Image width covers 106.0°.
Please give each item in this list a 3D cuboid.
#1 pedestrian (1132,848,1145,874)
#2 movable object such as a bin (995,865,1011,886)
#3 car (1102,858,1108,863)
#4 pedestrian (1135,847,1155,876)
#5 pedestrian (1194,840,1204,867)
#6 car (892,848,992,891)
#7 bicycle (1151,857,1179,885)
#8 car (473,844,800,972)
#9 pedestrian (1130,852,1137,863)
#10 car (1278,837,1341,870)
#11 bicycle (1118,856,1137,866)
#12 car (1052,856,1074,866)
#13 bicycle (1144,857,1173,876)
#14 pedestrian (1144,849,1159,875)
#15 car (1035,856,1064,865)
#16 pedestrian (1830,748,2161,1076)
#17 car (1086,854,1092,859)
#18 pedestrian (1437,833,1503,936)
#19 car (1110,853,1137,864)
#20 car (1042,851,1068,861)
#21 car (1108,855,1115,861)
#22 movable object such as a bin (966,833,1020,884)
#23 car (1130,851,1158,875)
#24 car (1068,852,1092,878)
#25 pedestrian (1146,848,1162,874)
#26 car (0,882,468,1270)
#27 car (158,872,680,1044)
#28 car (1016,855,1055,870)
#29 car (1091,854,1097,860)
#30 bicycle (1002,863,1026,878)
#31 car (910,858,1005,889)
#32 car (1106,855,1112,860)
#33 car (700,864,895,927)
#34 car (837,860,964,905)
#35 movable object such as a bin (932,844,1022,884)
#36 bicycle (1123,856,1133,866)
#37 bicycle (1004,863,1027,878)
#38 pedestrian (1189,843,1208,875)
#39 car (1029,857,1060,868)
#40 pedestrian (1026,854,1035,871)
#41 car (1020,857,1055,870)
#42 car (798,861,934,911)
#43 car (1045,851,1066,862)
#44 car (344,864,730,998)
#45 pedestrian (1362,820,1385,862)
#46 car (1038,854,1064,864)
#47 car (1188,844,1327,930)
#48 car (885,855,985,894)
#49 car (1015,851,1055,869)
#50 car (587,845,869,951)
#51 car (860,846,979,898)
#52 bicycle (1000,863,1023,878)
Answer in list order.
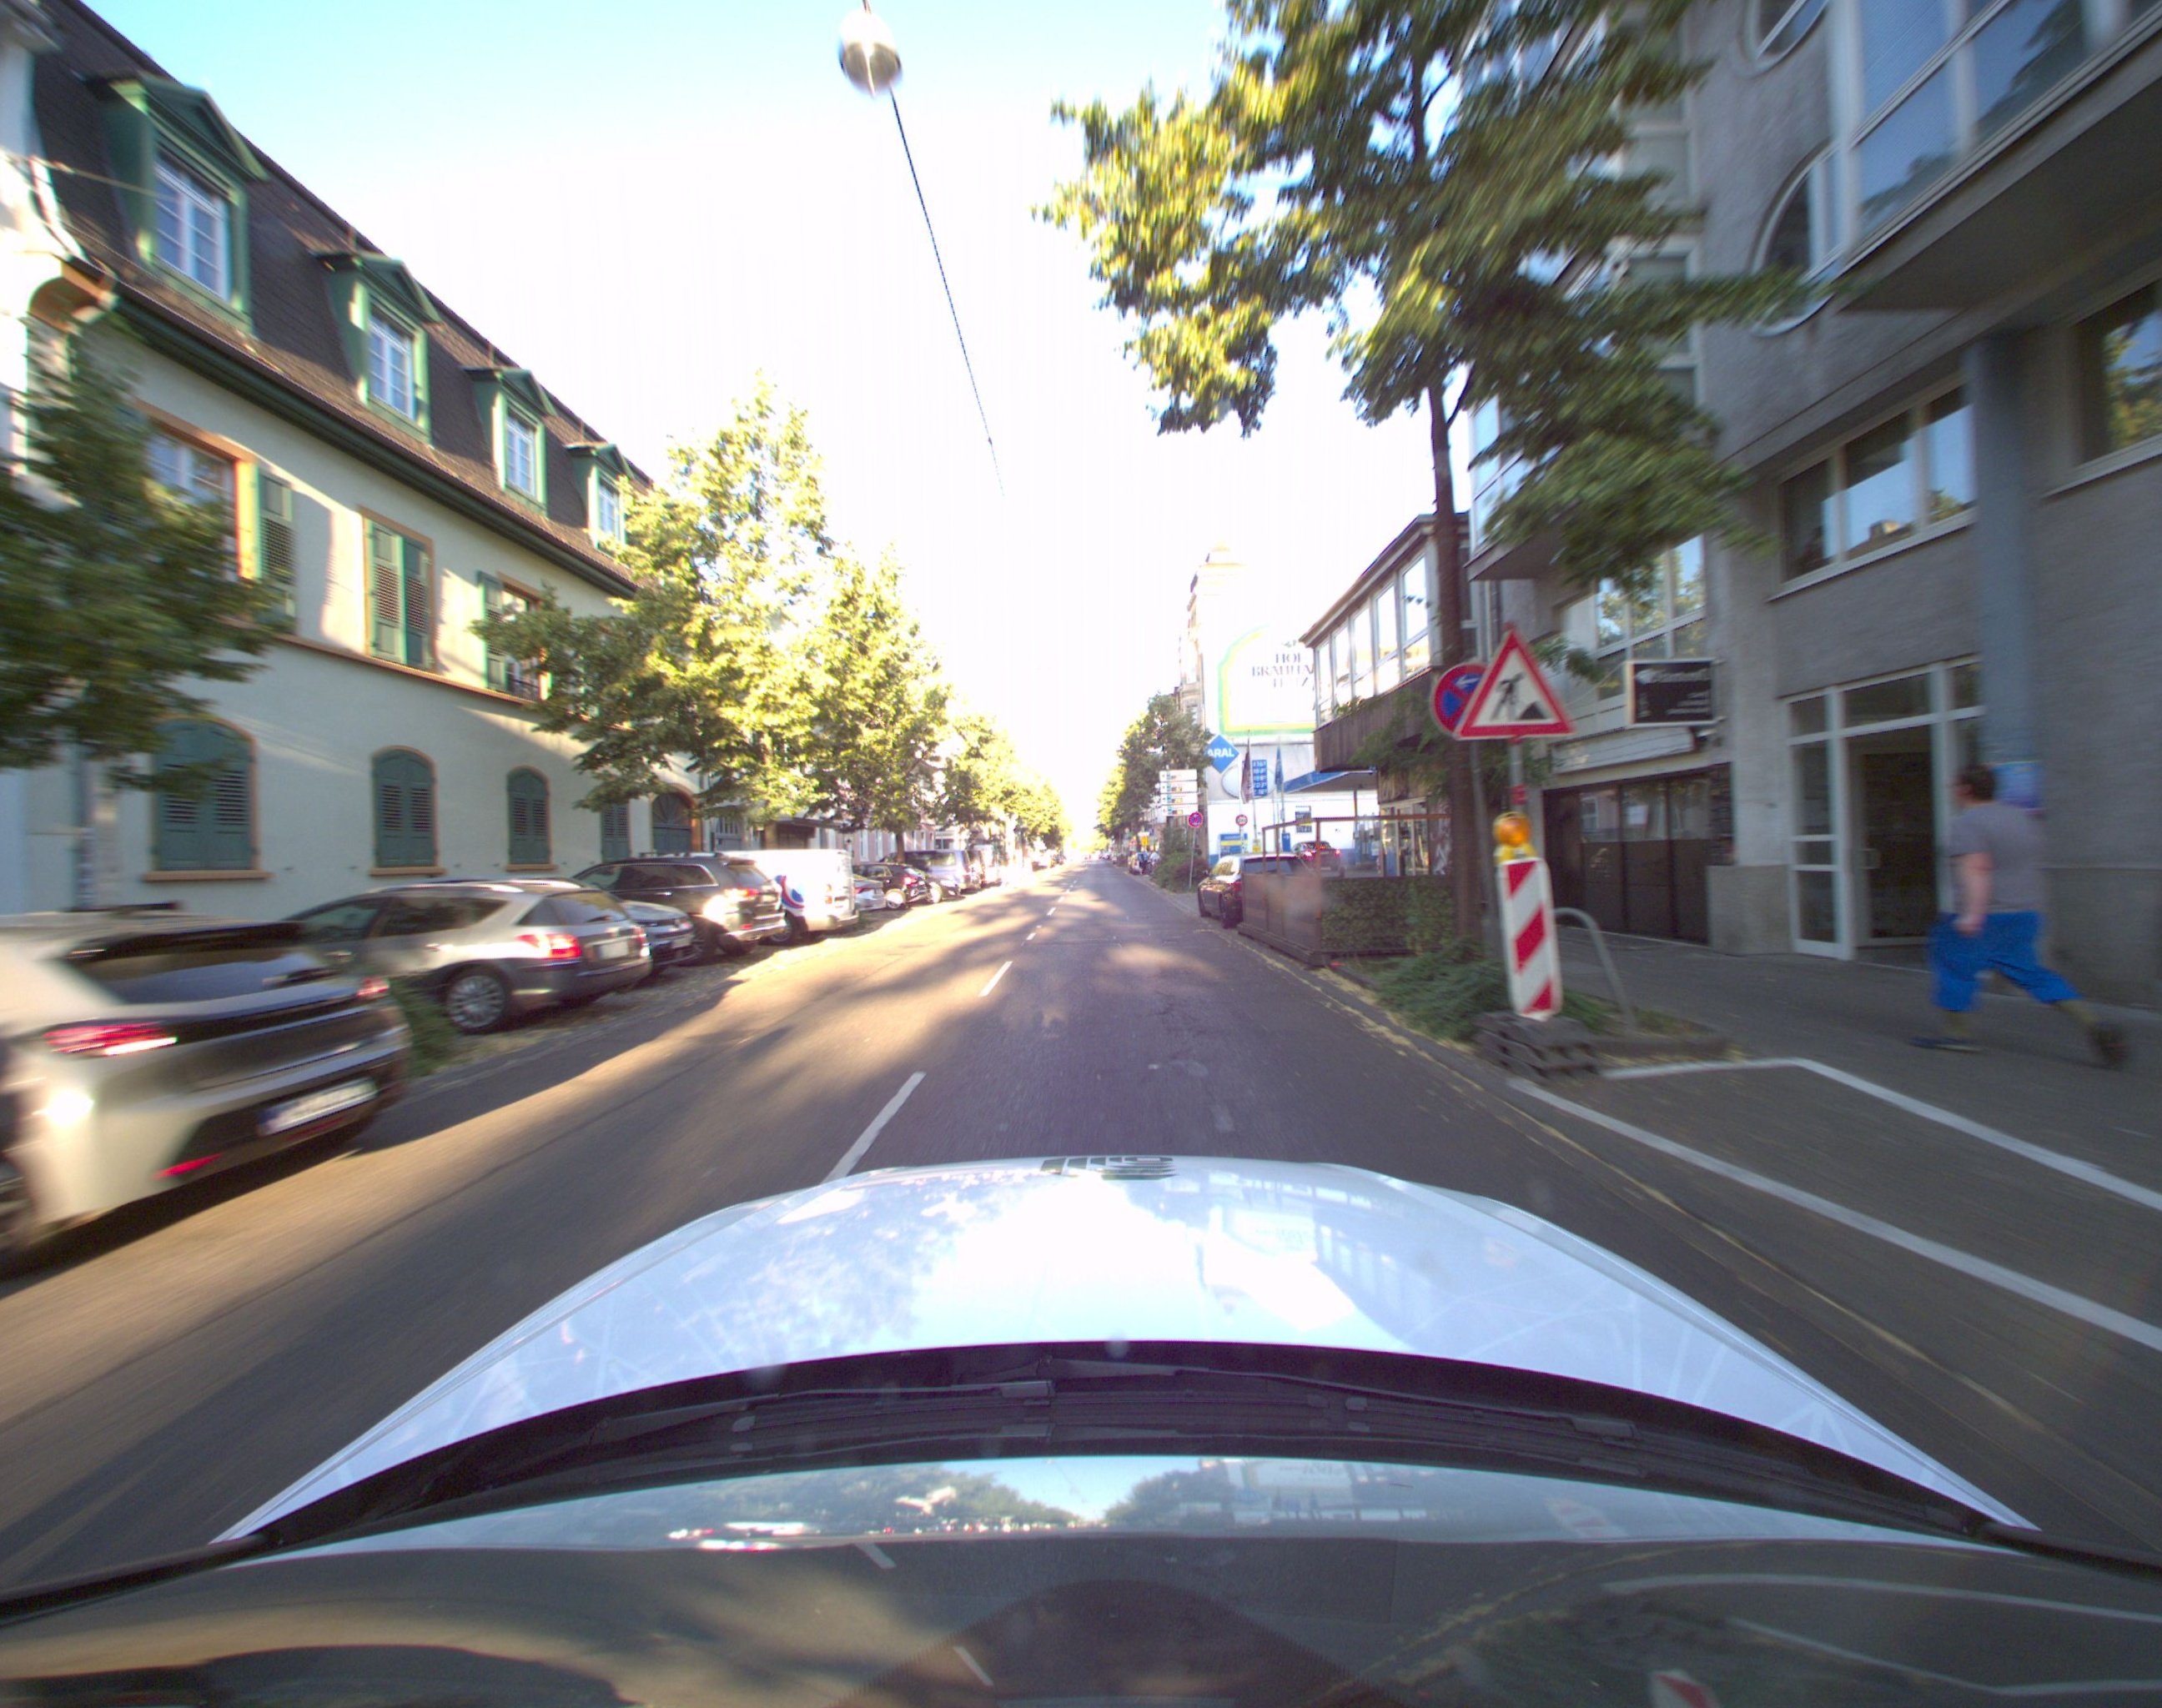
[{"bbox_3d":[3.967,0.460,55.970,0.677,1.754,0.822,-2,-1,-10],"label":"pedestrian"},{"bbox_3d":[-4.260,1.167,44.558,0.687,1.105,0.883,-3,0,3],"label":"movable object such as a bin"},{"bbox_3d":[6.924,1.902,236.412,1.507,1.298,3.305,-1,-1,2],"label":"car"},{"bbox_3d":[4.171,0.479,53.129,1.013,1.825,0.778,-4,0,-9],"label":"pedestrian"},{"bbox_3d":[8.250,-0.043,56.911,0.461,1.875,0.499,-2,0,-14],"label":"pedestrian"},{"bbox_3d":[-6.659,0.720,39.373,4.471,1.976,1.964,-1,0,-2],"label":"car"},{"bbox_3d":[3.878,0.779,37.519,0.478,1.143,1.691,-5,0,31],"label":"bicycle"},{"bbox_3d":[-7.316,0.854,13.750,4.412,1.870,1.894,-2,0,1],"label":"car"},{"bbox_3d":[6.319,0.416,98.549,0.724,1.378,0.781,-2,0,1],"label":"pedestrian"},{"bbox_3d":[11.015,0.031,39.619,1.728,1.431,4.909,-3,-1,1],"label":"car"},{"bbox_3d":[5.168,0.773,90.736,1.935,1.074,0.710,-2,0,32],"label":"bicycle"},{"bbox_3d":[-3.852,1.544,172.701,4.426,1.959,1.919,-1,-1,1],"label":"car"},{"bbox_3d":[5.037,0.786,53.051,0.856,1.098,1.939,-4,0,40],"label":"bicycle"},{"bbox_3d":[4.842,0.568,56.186,0.678,1.706,0.821,-4,0,-14],"label":"pedestrian"},{"bbox_3d":[-4.960,1.030,127.874,4.426,1.448,1.919,-1,-1,1],"label":"car"},{"bbox_3d":[5.590,0.322,5.064,0.854,1.794,0.996,-3,0,-3],"label":"pedestrian"},{"bbox_3d":[2.366,0.767,244.858,1.746,1.540,3.305,-2,-1,2],"label":"car"},{"bbox_3d":[6.062,0.459,12.722,0.608,1.525,0.773,-3,0,1],"label":"pedestrian"},{"bbox_3d":[6.077,0.629,115.448,1.654,1.588,3.846,-1,0,44],"label":"car"},{"bbox_3d":[-4.650,0.398,145.258,4.426,1.759,1.919,-1,-1,1],"label":"car"},{"bbox_3d":[7.287,0.956,195.106,1.507,1.276,3.305,-1,-1,2],"label":"car"},{"bbox_3d":[-5.418,0.274,50.920,2.616,2.969,5.304,-2,0,1],"label":"movable object such as a bin"},{"bbox_3d":[4.507,0.634,58.986,1.681,1.575,4.014,-4,0,1],"label":"car"},{"bbox_3d":[-0.048,0.841,64.020,1.702,1.823,4.014,-4,0,1],"label":"car"},{"bbox_3d":[4.988,0.502,55.577,0.657,1.700,0.660,-4,0,-43],"label":"pedestrian"},{"bbox_3d":[-5.756,0.972,4.034,4.048,1.461,1.684,-2,0,-2],"label":"car"},{"bbox_3d":[-6.910,1.032,8.885,4.024,1.483,1.963,-2,0,0],"label":"car"},{"bbox_3d":[-5.579,1.066,99.778,4.555,1.698,2.061,-1,-1,1],"label":"car"},{"bbox_3d":[3.684,0.864,228.587,1.746,1.540,3.305,-2,-1,2],"label":"car"},{"bbox_3d":[-5.015,1.261,61.136,1.673,1.079,0.445,1,-2,8],"label":"bicycle"},{"bbox_3d":[-6.428,0.993,42.608,4.574,1.470,1.894,-1,0,3],"label":"car"},{"bbox_3d":[7.345,0.962,213.142,1.507,1.263,3.305,-1,-1,2],"label":"car"},{"bbox_3d":[-7.356,1.054,21.403,4.460,1.485,1.735,-1,0,2],"label":"car"},{"bbox_3d":[-6.579,1.013,30.020,4.318,1.501,1.839,-1,0,-5],"label":"car"},{"bbox_3d":[-6.967,0.613,55.018,2.284,2.495,5.789,-2,0,44],"label":"movable object such as a bin"},{"bbox_3d":[5.342,0.792,92.195,0.593,1.178,1.856,-2,0,20],"label":"bicycle"},{"bbox_3d":[-4.974,1.257,61.722,1.673,1.079,0.445,1,-2,8],"label":"bicycle"},{"bbox_3d":[6.921,0.297,48.181,0.820,1.854,1.097,-4,0,-1],"label":"pedestrian"},{"bbox_3d":[-5.448,1.274,121.236,4.426,1.568,1.919,-1,-1,1],"label":"car"},{"bbox_3d":[-4.901,0.837,79.263,0.706,1.686,0.836,-2,0,10],"label":"pedestrian"},{"bbox_3d":[-5.581,1.190,104.774,4.426,1.506,1.845,-1,-1,1],"label":"car"},{"bbox_3d":[-7.044,1.036,26.933,3.906,1.501,1.907,-1,0,3],"label":"car"},{"bbox_3d":[-5.676,0.632,182.719,4.426,2.435,1.919,-1,-1,1],"label":"car"},{"bbox_3d":[-7.377,1.001,11.355,4.020,1.555,1.966,-2,0,3],"label":"car"},{"bbox_3d":[20.503,-0.889,57.090,1.204,2.908,1.167,-1,-1,1],"label":"pedestrian"},{"bbox_3d":[-5.094,0.826,138.753,4.426,1.523,1.919,-1,-1,1],"label":"car"},{"bbox_3d":[3.638,0.617,17.696,1.823,1.488,4.847,-4,0,-1],"label":"car"},{"bbox_3d":[-6.537,0.901,36.841,4.114,1.637,1.861,-1,0,1],"label":"car"},{"bbox_3d":[-5.477,0.726,96.966,4.556,1.962,1.991,-1,-1,0],"label":"car"},{"bbox_3d":[-7.092,0.852,16.760,4.854,1.908,1.974,-2,0,0],"label":"car"},{"bbox_3d":[-6.712,0.732,34.139,4.467,1.976,2.069,-1,0,1],"label":"car"},{"bbox_3d":[-5.184,1.248,60.546,1.677,1.079,0.444,1,-2,0],"label":"bicycle"}]
